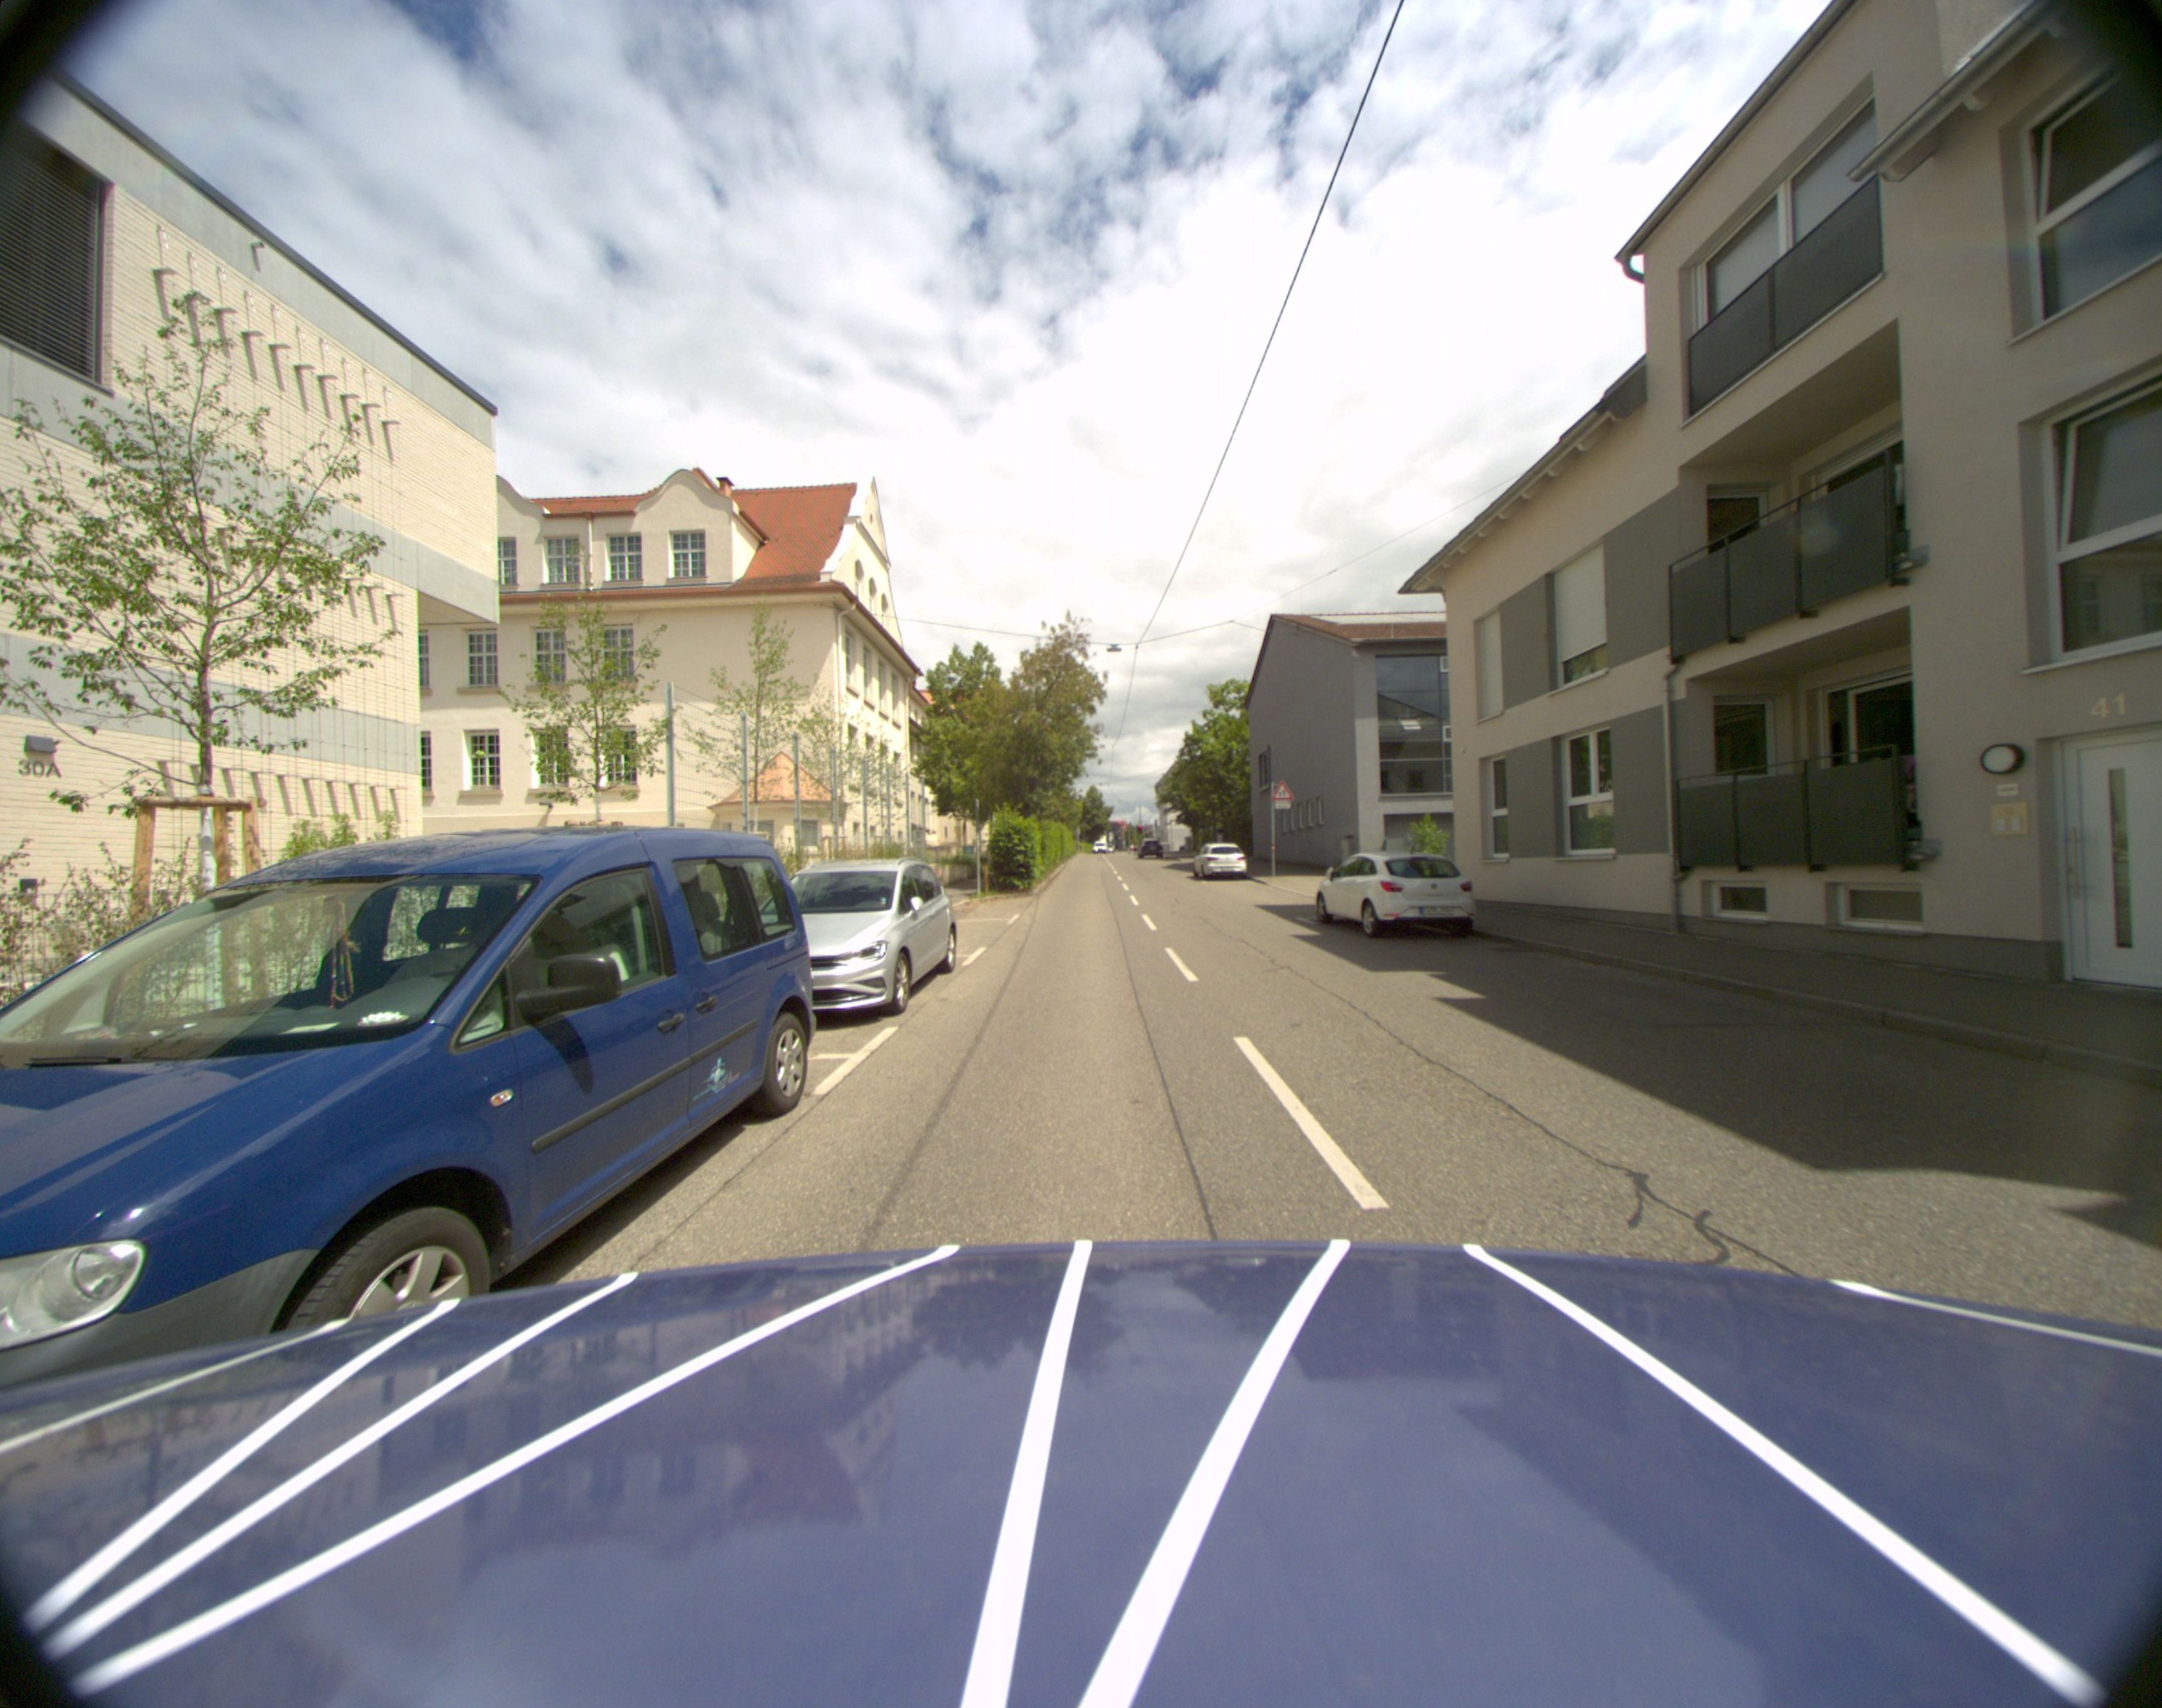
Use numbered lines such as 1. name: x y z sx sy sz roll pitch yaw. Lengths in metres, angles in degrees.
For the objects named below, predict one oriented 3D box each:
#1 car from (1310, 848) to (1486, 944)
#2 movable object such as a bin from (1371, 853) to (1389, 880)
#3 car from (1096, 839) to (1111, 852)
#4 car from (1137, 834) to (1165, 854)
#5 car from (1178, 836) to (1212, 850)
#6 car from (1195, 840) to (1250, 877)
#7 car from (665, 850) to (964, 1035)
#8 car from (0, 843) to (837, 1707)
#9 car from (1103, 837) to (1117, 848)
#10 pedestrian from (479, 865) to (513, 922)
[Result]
1. car: 5.509 0.642 13.720 1.651 1.411 3.698 -2 1 1
2. movable object such as a bin: 10.454 0.440 26.583 0.455 0.924 0.399 -1 2 0
3. car: 3.180 -1.196 106.949 1.893 1.718 4.294 -2 1 4
4. car: 5.947 -0.813 64.923 1.800 1.601 4.644 -2 1 -1
5. car: 14.415 -1.373 95.891 3.997 1.468 1.859 -2 -1 1
6. car: 5.784 0.168 31.415 1.701 1.382 3.867 -1 0 3
7. car: -2.651 0.762 8.784 1.790 1.500 4.364 -2 1 1
8. car: -2.767 0.874 3.233 1.849 1.757 4.514 -2 1 1
9. car: 4.604 -1.782 120.125 1.794 1.477 4.002 -3 -1 7
10. pedestrian: -15.431 1.034 20.045 0.544 1.457 0.364 -3 1 -13
